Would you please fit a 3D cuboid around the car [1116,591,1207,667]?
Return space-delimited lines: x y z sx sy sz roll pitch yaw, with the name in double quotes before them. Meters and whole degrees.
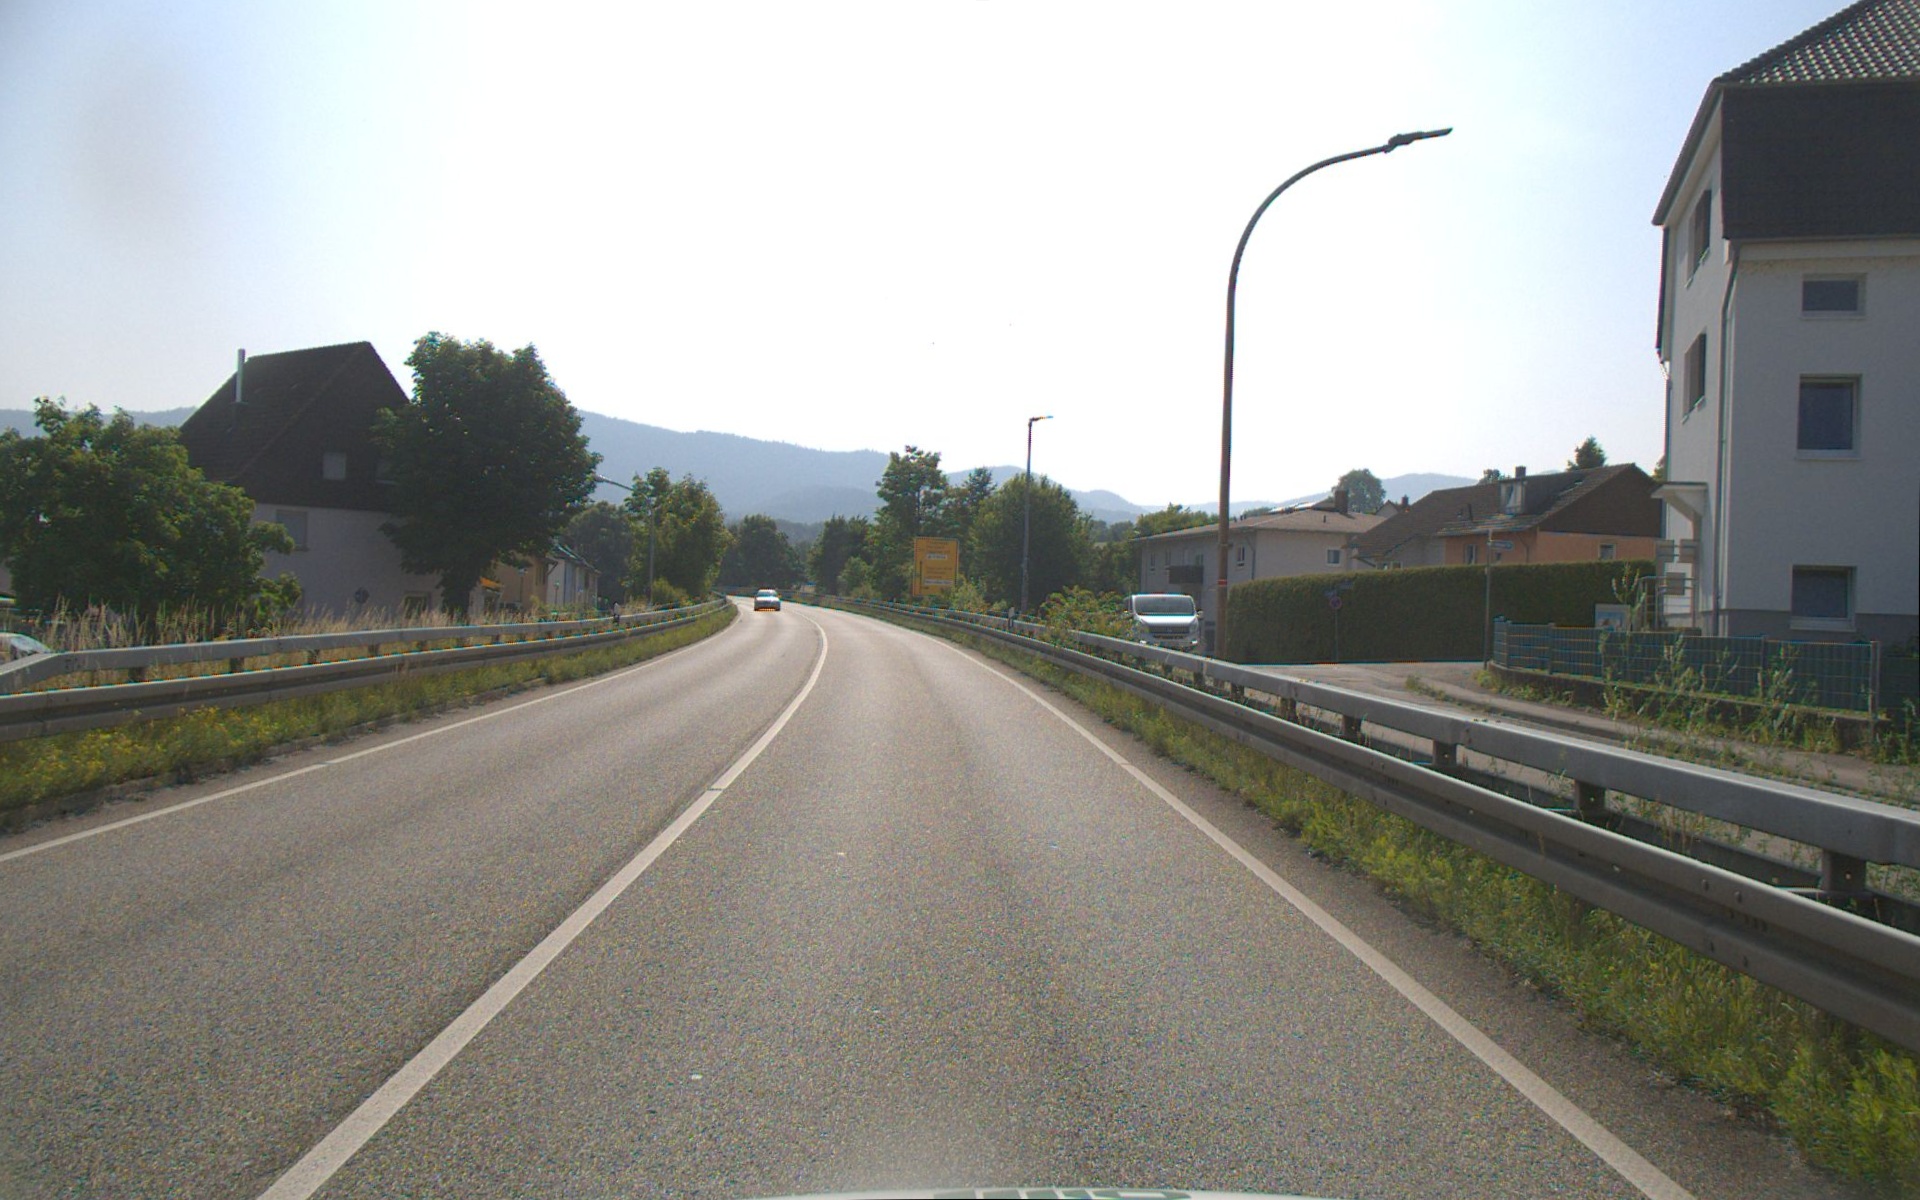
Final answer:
"car" 5.691 0.770 47.343 1.953 1.979 5.361 1 1 0

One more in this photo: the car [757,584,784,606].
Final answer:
"car" -12.923 -0.324 112.925 1.724 1.435 3.985 -1 0 -5

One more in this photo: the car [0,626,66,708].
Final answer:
"car" -20.382 1.293 32.822 4.212 1.531 1.874 1 0 -1

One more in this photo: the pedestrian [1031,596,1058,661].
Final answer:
"pedestrian" 2.723 0.913 53.276 0.772 2.049 0.997 1 0 -2
